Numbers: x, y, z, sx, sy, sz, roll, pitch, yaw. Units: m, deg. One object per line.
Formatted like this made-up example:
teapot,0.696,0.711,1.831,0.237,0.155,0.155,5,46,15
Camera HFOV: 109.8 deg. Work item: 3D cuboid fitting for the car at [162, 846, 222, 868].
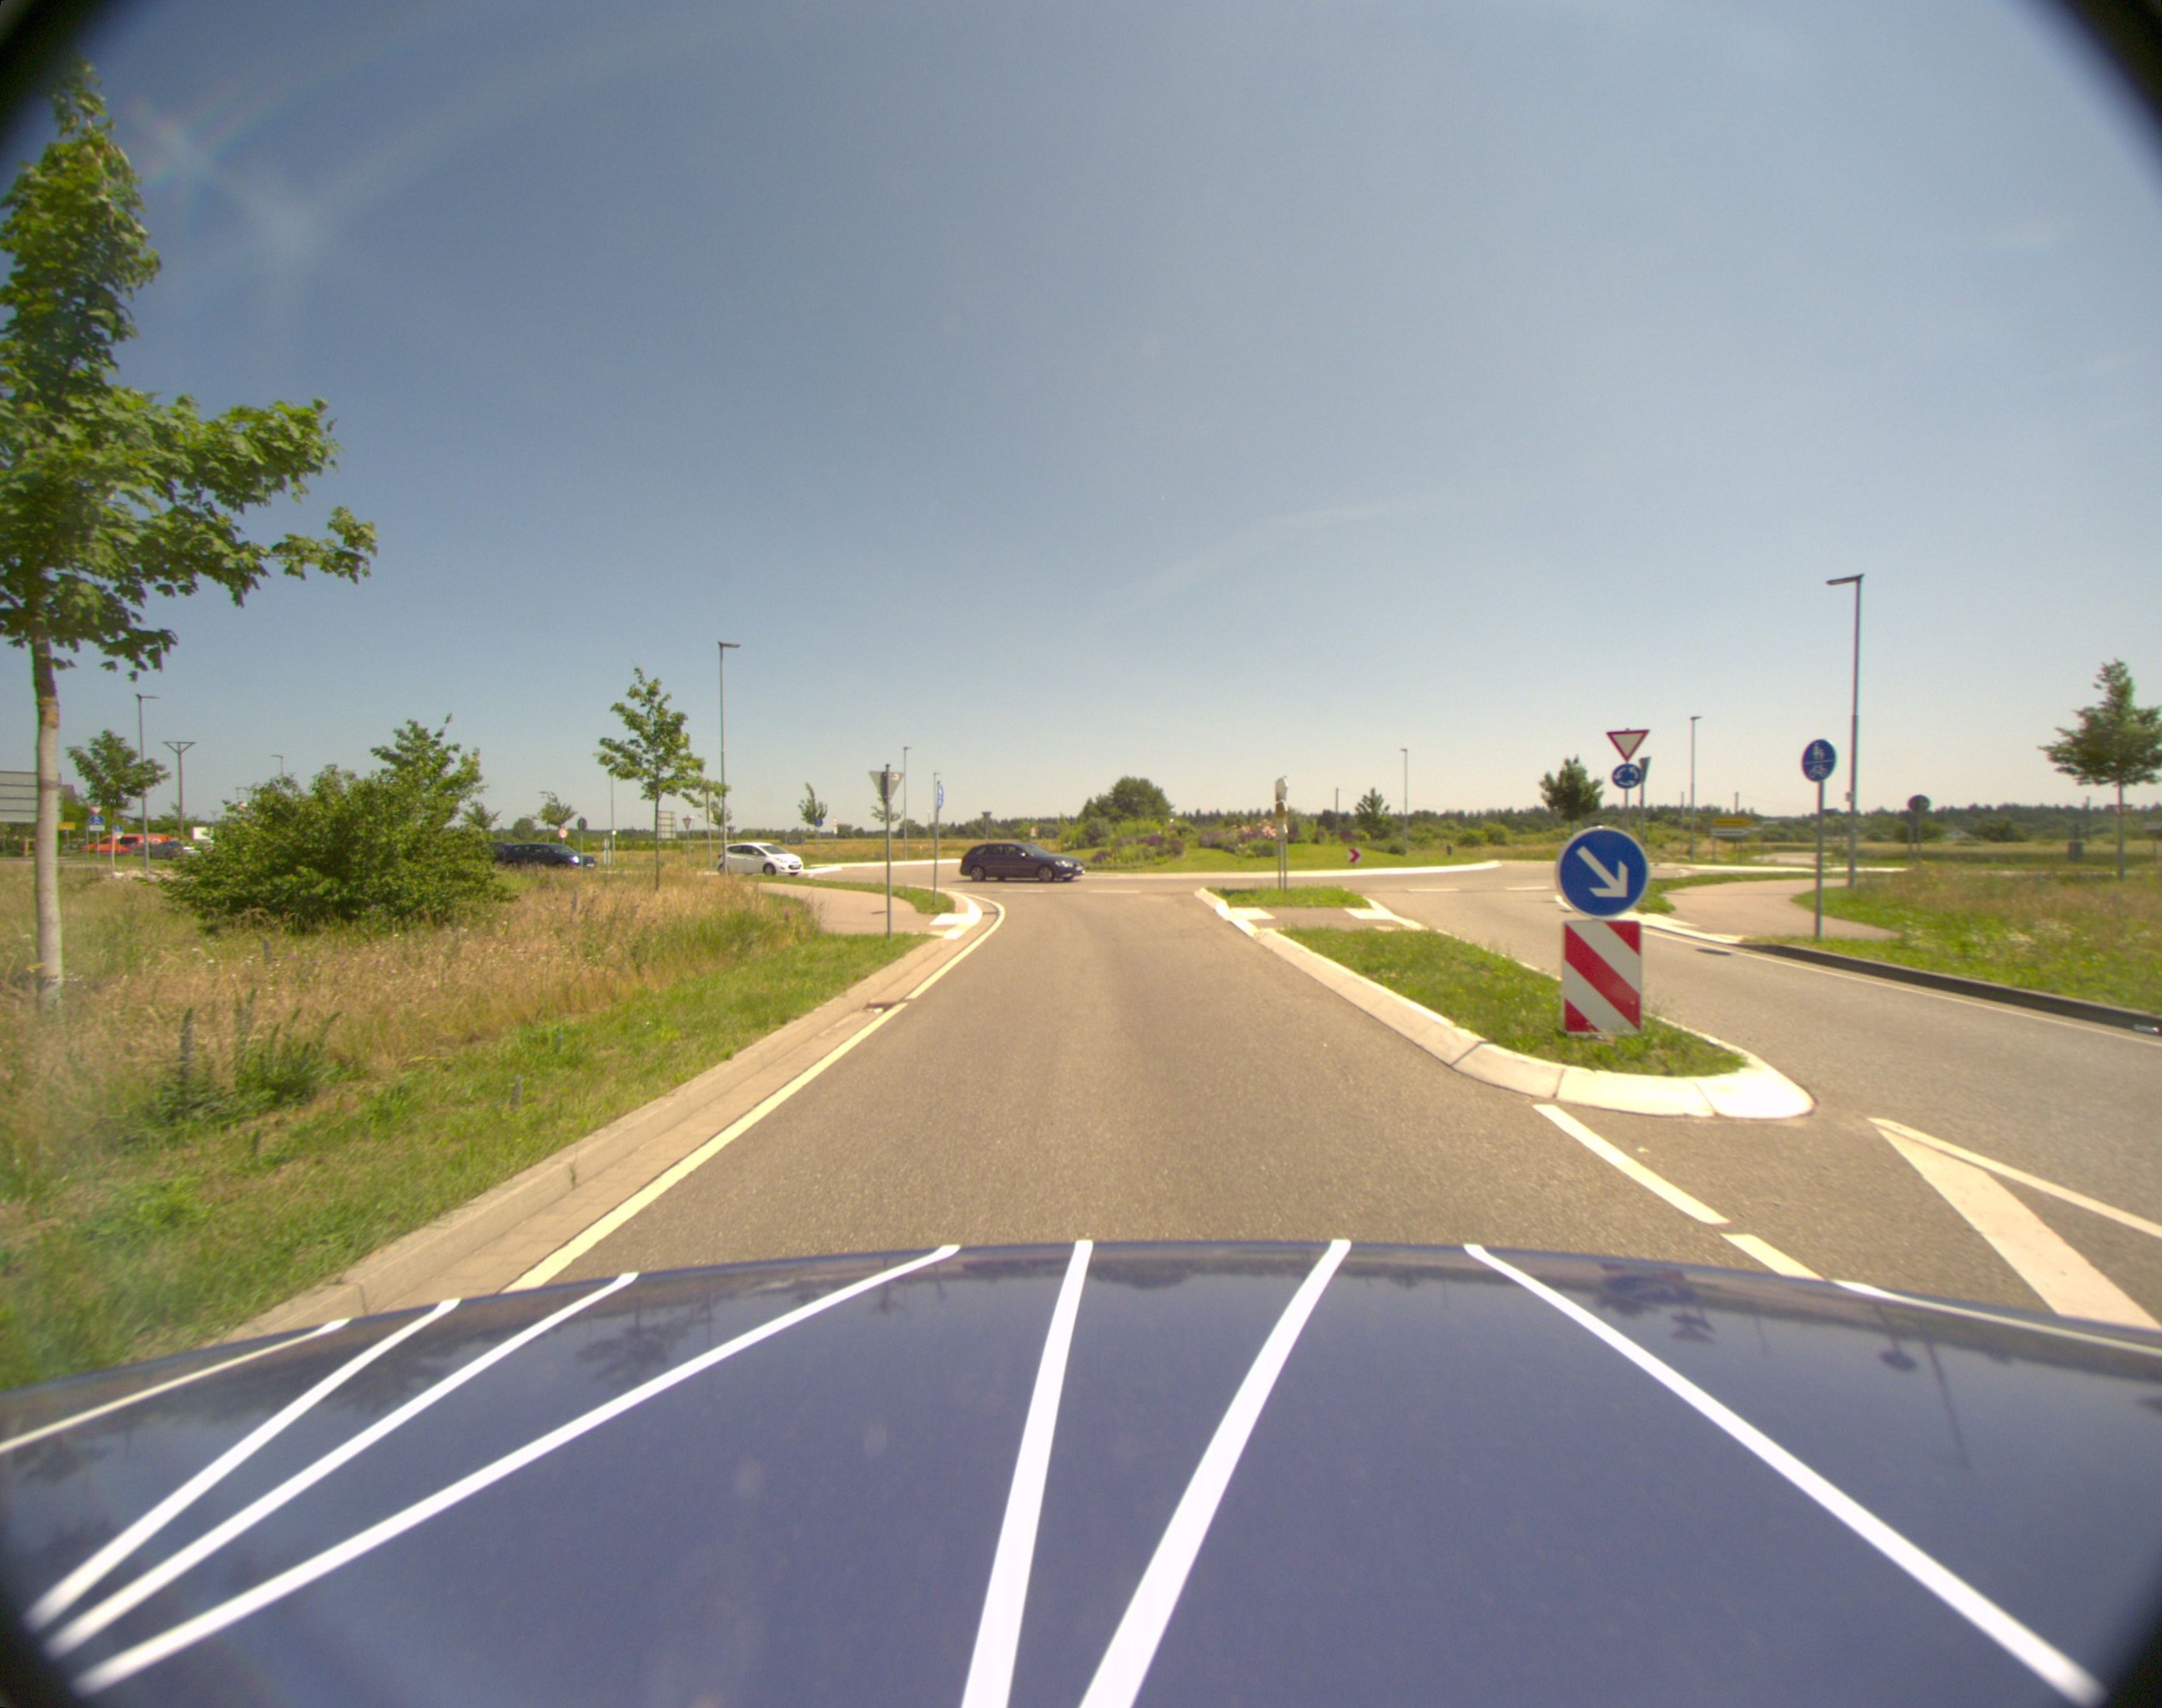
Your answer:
car,-65.227,0.197,55.752,3.989,1.607,1.902,0,1,26

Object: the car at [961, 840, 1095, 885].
car,-1.942,0.273,27.748,4.508,1.427,1.872,1,4,27

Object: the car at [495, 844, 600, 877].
car,-26.562,0.318,37.888,4.146,1.553,1.722,0,2,6

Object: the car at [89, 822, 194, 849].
car,-93.993,-1.828,76.181,6.146,2.569,2.351,-1,1,-29

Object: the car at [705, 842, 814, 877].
car,-15.166,0.235,35.903,4.511,1.553,1.871,0,2,16
